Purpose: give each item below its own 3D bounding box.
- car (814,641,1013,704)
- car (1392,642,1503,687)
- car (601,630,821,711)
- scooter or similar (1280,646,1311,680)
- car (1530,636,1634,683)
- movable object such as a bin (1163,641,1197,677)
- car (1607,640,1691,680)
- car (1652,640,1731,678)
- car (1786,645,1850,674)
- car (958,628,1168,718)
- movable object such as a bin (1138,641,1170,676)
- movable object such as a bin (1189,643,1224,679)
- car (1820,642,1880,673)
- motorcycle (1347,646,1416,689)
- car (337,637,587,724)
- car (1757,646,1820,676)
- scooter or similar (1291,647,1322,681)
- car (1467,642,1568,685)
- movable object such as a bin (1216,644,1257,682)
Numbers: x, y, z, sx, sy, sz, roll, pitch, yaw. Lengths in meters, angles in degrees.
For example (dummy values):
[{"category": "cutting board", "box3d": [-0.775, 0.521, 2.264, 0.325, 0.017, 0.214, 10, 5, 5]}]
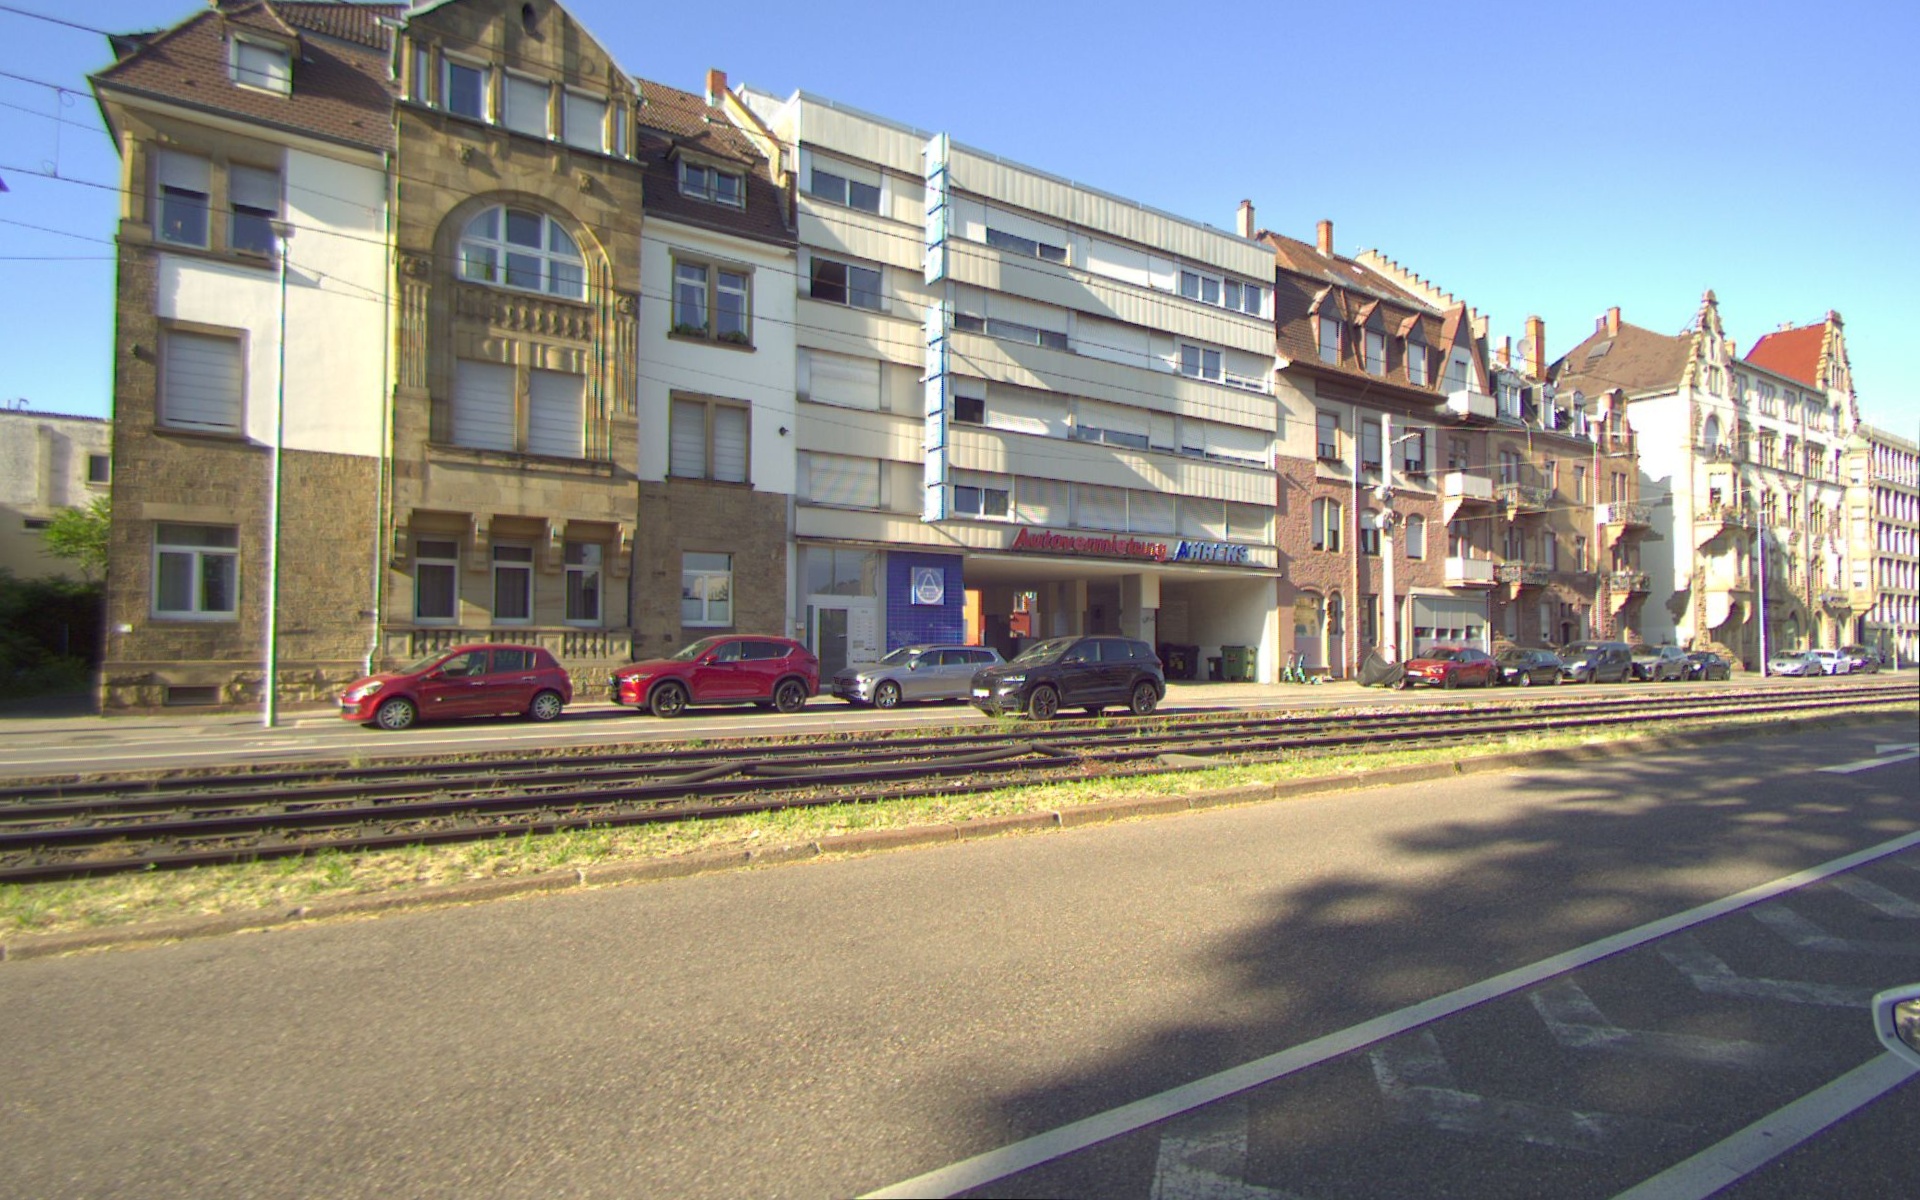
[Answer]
[{"category": "car", "box3d": [-1.096, 1.752, 24.752, 4.633, 1.409, 1.823, 2, -3, -33]}, {"category": "car", "box3d": [18.031, 2.362, 37.083, 4.222, 1.479, 1.783, 2, 0, -34]}, {"category": "car", "box3d": [-5.378, 1.498, 21.860, 4.305, 1.578, 1.824, 2, -2, -32]}, {"category": "scooter or similar", "box3d": [12.565, 2.364, 37.597, 1.187, 1.221, 0.389, 2, 0, -32]}, {"category": "car", "box3d": [26.128, 2.488, 42.166, 4.402, 1.777, 1.786, 2, 0, -30]}, {"category": "movable object such as a bin", "box3d": [8.842, 2.364, 40.371, 0.629, 1.389, 1.258, 2, -3, -36]}, {"category": "car", "box3d": [31.302, 2.697, 45.607, 4.154, 1.674, 1.677, 2, 0, -33]}, {"category": "car", "box3d": [35.437, 2.826, 48.634, 4.154, 1.674, 1.677, 2, 0, -33]}, {"category": "car", "box3d": [49.883, 3.451, 58.382, 4.142, 1.530, 1.783, 2, 0, -34]}, {"category": "car", "box3d": [2.109, 1.427, 20.080, 4.117, 1.622, 1.625, 2, -4, -35]}, {"category": "movable object such as a bin", "box3d": [7.998, 2.400, 41.415, 0.628, 1.389, 1.260, 2, -3, -32]}, {"category": "movable object such as a bin", "box3d": [9.602, 2.364, 39.090, 0.630, 1.389, 1.184, 2, -2, -38]}, {"category": "car", "box3d": [54.466, 3.500, 61.446, 4.142, 1.742, 1.783, 2, 0, -34]}, {"category": "motorcycle", "box3d": [14.846, 2.349, 35.403, 2.045, 1.344, 0.836, 2, 0, 43]}, {"category": "car", "box3d": [-9.460, 1.473, 19.211, 3.999, 1.409, 1.819, 2, 0, -38]}, {"category": "car", "box3d": [45.503, 3.316, 55.153, 3.963, 1.530, 1.781, 2, 0, -37]}, {"category": "scooter or similar", "box3d": [12.798, 2.370, 37.079, 1.187, 1.221, 0.389, 2, 0, -32]}, {"category": "car", "box3d": [21.968, 2.470, 39.557, 3.957, 1.530, 1.784, 2, 0, -33]}, {"category": "movable object such as a bin", "box3d": [10.445, 2.360, 37.989, 0.630, 1.389, 1.400, 2, -2, -38]}]
